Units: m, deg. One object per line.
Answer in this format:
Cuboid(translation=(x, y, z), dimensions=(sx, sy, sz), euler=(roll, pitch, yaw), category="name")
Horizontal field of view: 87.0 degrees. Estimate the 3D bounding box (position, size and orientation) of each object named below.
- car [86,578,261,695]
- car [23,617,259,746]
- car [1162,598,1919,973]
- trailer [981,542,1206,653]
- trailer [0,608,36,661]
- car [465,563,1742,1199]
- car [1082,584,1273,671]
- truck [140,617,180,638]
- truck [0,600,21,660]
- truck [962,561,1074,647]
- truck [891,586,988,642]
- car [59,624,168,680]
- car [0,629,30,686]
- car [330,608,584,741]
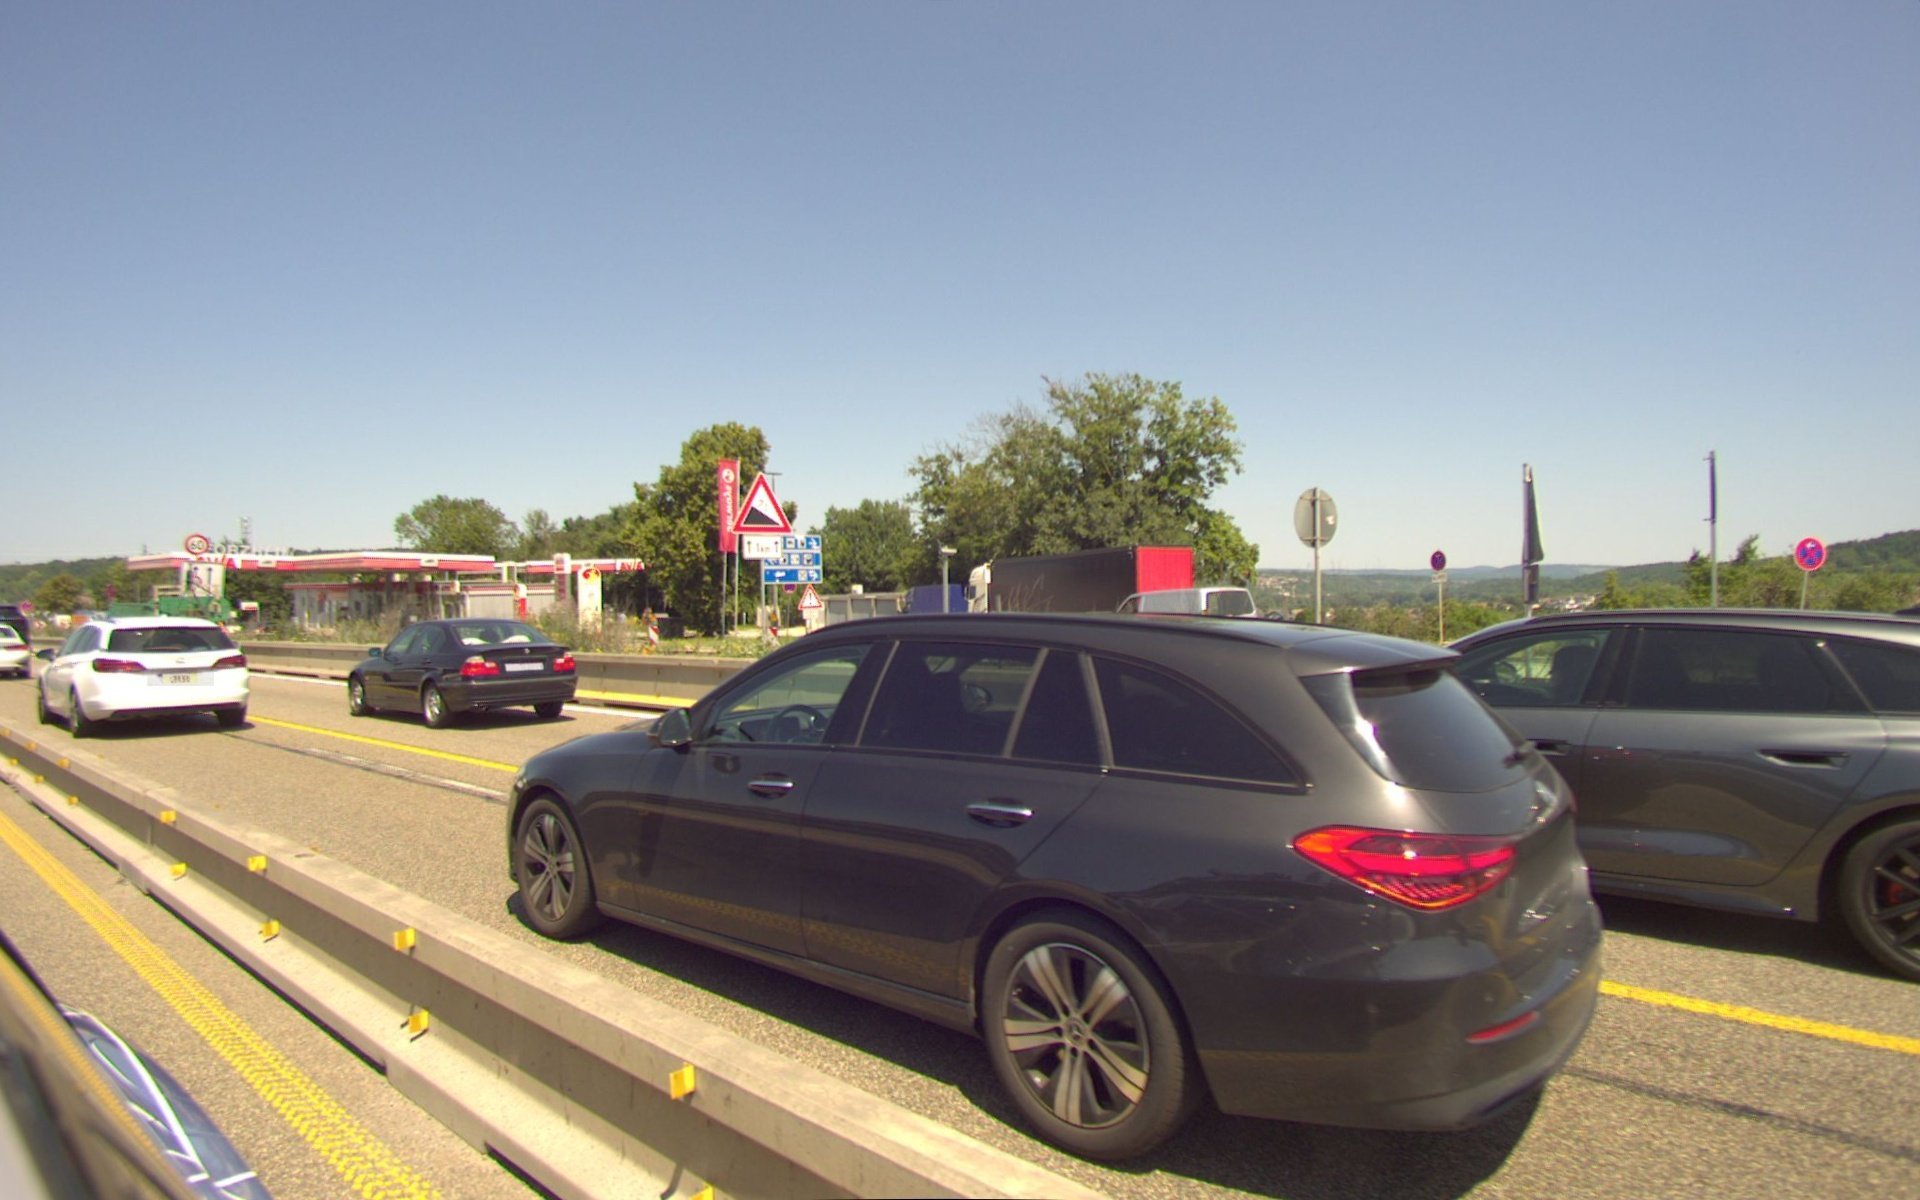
Cuboid(translation=(-19.329, 0.871, 24.725), dimensions=(6.447, 2.416, 1.895), euler=(-2, 3, 40), category="car")
Cuboid(translation=(-11.318, 1.018, 13.872), dimensions=(4.516, 1.490, 1.716), euler=(-2, -2, 41), category="car")
Cuboid(translation=(3.552, 0.732, 5.211), dimensions=(4.579, 1.409, 1.972), euler=(-2, -2, 43), category="car")
Cuboid(translation=(5.256, 0.028, 44.901), dimensions=(3.105, 4.142, 14.210), euler=(0, -1, -23), category="trailer")
Cuboid(translation=(-44.015, 1.601, 46.118), dimensions=(5.610, 2.332, 2.159), euler=(-2, -1, 40), category="trailer")
Cuboid(translation=(0.007, 0.727, 3.976), dimensions=(4.766, 1.438, 1.756), euler=(-2, -2, 40), category="car")
Cuboid(translation=(5.344, 0.717, 25.704), dimensions=(1.890, 1.956, 5.110), euler=(-1, -2, -27), category="car")
Cuboid(translation=(-163.824, 5.629, 207.361), dimensions=(5.647, 3.644, 2.585), euler=(-4, 1, -9), category="truck")
Cuboid(translation=(-49.242, 1.549, 50.592), dimensions=(8.123, 2.845, 2.454), euler=(-2, -1, 41), category="truck")
Cuboid(translation=(2.769, 0.254, 50.753), dimensions=(3.105, 4.015, 6.367), euler=(0, -1, -23), category="truck")
Cuboid(translation=(-1.310, 0.853, 59.577), dimensions=(2.779, 3.087, 7.144), euler=(0, -1, -28), category="truck")
Cuboid(translation=(-24.184, 1.466, 28.862), dimensions=(4.332, 1.463, 1.670), euler=(-2, -2, 40), category="car")
Cuboid(translation=(-25.374, 1.440, 25.878), dimensions=(4.244, 1.386, 1.798), euler=(-1, -2, 40), category="car")
Cuboid(translation=(-7.109, 0.967, 14.159), dimensions=(3.997, 1.609, 1.749), euler=(-2, -2, 40), category="car")
